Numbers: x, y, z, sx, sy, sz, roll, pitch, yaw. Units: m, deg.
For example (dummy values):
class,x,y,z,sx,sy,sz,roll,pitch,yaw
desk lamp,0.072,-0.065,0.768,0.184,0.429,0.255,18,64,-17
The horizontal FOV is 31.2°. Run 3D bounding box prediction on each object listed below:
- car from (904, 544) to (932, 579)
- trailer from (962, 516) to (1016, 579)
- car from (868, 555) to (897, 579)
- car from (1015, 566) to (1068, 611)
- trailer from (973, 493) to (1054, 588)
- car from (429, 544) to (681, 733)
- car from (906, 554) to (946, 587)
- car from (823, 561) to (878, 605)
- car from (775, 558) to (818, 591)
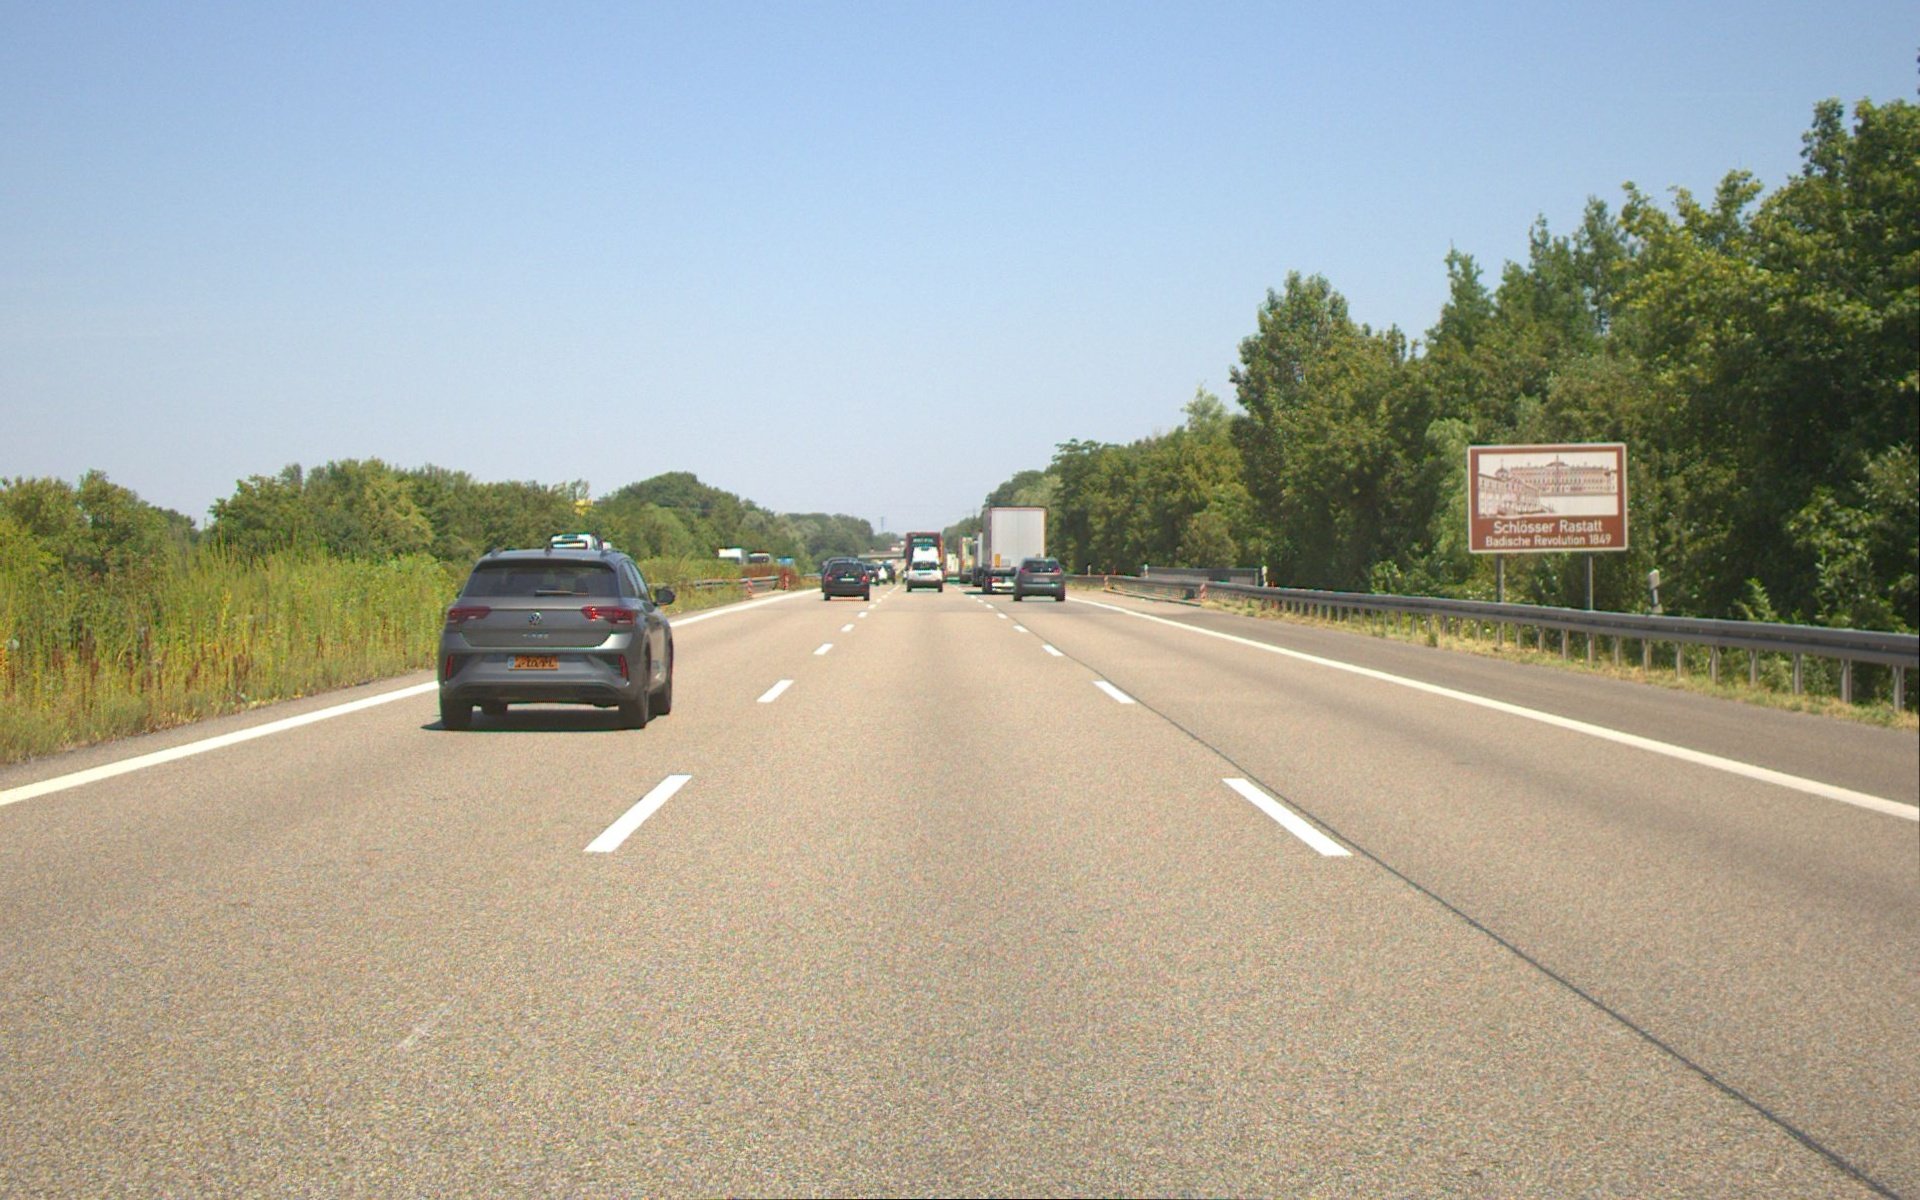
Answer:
class,x,y,z,sx,sy,sz,roll,pitch,yaw
car,-2.910,-2.704,240.775,1.907,2.417,4.286,1,1,-1
trailer,1.842,-3.407,223.019,3.122,3.913,9.937,1,1,-2
car,-5.232,-2.211,231.893,1.907,1.525,4.286,1,1,-1
car,3.018,-0.452,127.812,1.845,1.623,4.135,0,1,0
trailer,2.426,-2.687,160.670,3.434,4.167,13.632,1,0,0
car,-3.547,0.286,30.775,1.759,1.525,4.286,1,1,-1
car,-1.688,-1.475,170.179,1.900,1.525,4.084,1,1,-1
car,-4.017,-0.649,126.519,1.900,1.525,4.084,1,1,-1
car,-7.941,-1.232,167.675,1.907,1.525,4.286,1,1,-1
